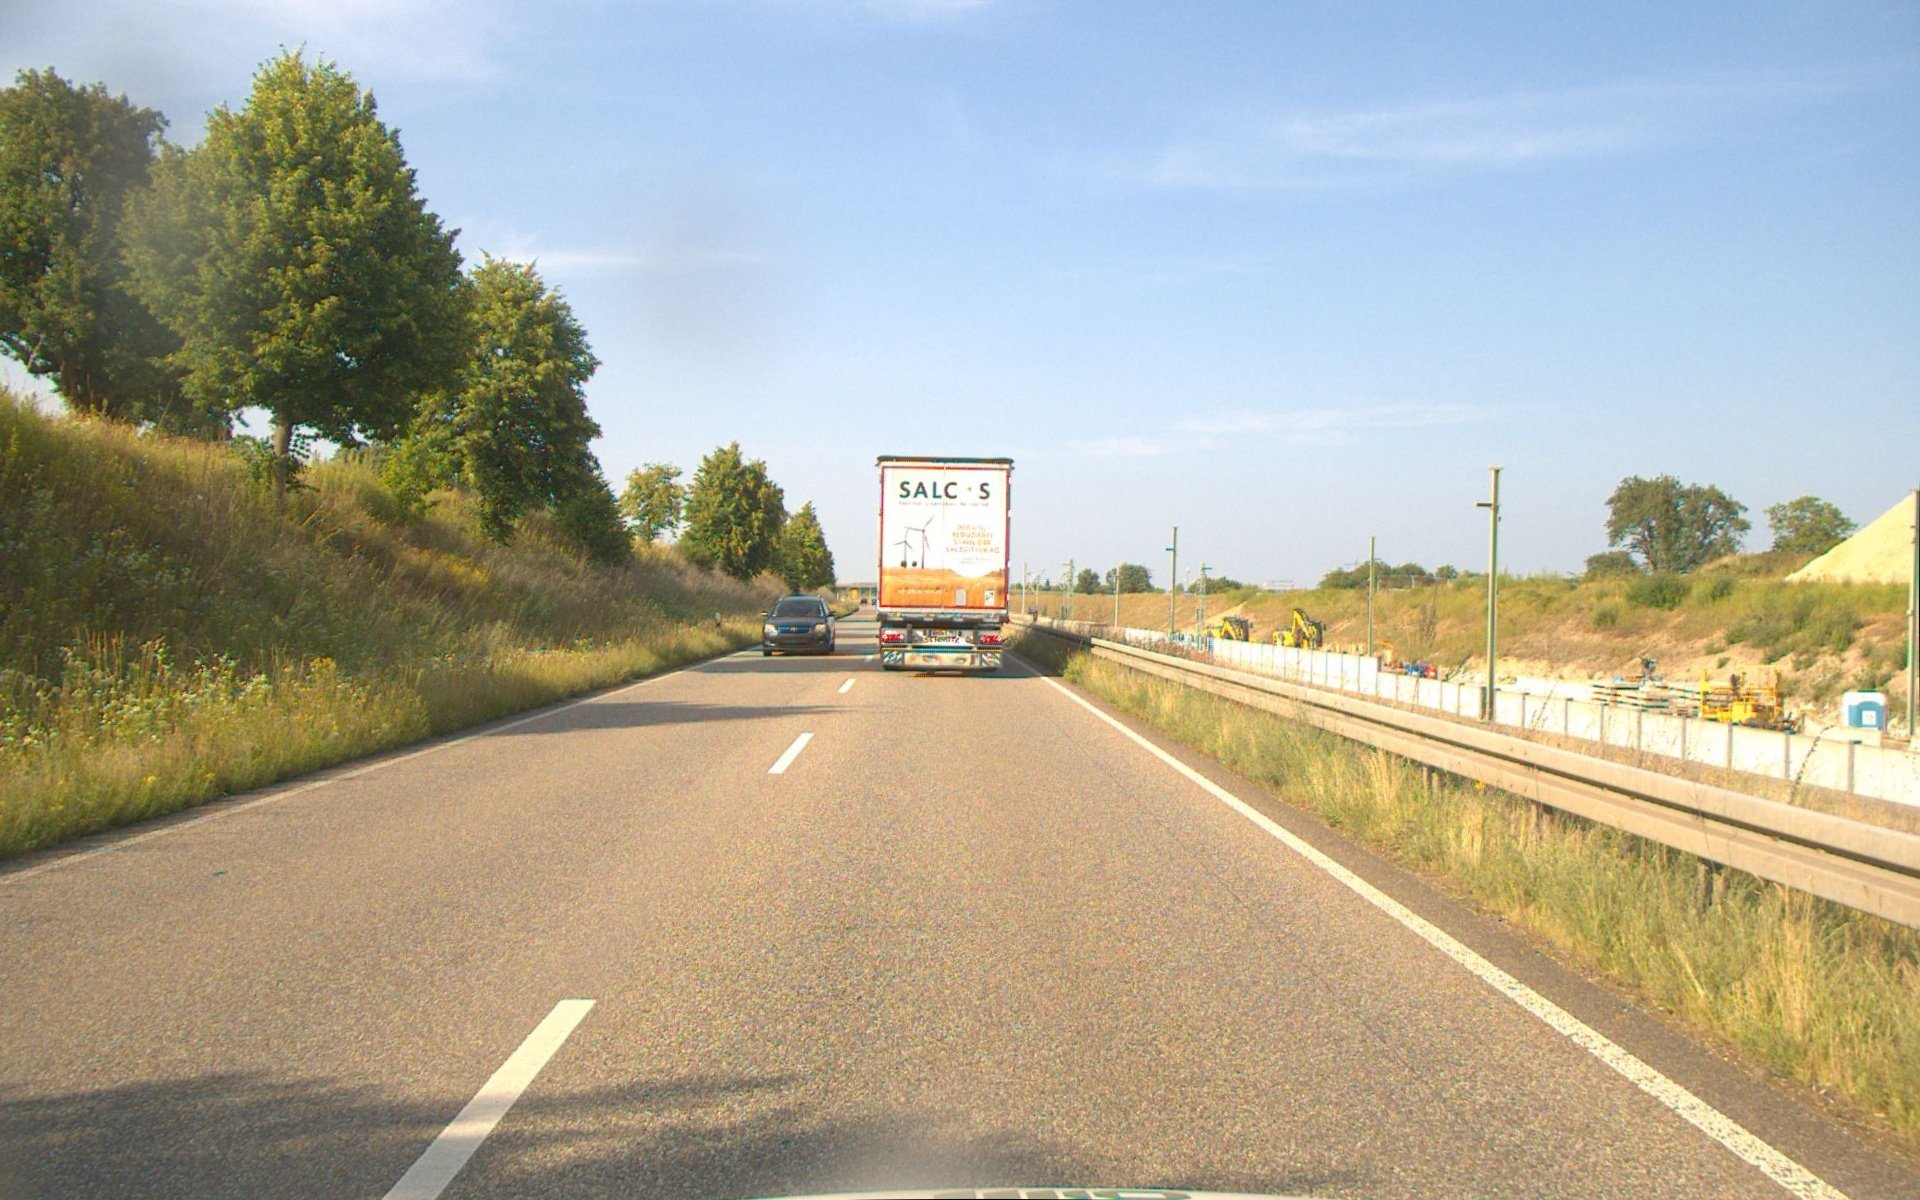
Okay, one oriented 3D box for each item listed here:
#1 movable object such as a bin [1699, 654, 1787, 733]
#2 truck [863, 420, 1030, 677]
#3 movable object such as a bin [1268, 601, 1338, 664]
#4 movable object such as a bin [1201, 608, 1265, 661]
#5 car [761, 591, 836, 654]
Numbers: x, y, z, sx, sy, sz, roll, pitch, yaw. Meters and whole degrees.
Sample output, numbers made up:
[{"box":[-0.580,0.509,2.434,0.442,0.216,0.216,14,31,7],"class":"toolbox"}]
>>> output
[{"box":[28.975,3.420,61.314,2.845,2.708,2.019,1,0,24],"class":"movable object such as a bin"},{"box":[-0.330,-0.971,35.029,3.089,4.770,8.439,0,0,-1],"class":"truck"},{"box":[22.484,2.069,108.853,2.740,3.954,7.534,1,0,-2],"class":"movable object such as a bin"},{"box":[18.052,2.250,109.897,2.569,3.296,8.070,1,0,-2],"class":"movable object such as a bin"},{"box":[-4.203,0.560,43.489,1.708,1.574,4.310,0,0,-2],"class":"car"}]
